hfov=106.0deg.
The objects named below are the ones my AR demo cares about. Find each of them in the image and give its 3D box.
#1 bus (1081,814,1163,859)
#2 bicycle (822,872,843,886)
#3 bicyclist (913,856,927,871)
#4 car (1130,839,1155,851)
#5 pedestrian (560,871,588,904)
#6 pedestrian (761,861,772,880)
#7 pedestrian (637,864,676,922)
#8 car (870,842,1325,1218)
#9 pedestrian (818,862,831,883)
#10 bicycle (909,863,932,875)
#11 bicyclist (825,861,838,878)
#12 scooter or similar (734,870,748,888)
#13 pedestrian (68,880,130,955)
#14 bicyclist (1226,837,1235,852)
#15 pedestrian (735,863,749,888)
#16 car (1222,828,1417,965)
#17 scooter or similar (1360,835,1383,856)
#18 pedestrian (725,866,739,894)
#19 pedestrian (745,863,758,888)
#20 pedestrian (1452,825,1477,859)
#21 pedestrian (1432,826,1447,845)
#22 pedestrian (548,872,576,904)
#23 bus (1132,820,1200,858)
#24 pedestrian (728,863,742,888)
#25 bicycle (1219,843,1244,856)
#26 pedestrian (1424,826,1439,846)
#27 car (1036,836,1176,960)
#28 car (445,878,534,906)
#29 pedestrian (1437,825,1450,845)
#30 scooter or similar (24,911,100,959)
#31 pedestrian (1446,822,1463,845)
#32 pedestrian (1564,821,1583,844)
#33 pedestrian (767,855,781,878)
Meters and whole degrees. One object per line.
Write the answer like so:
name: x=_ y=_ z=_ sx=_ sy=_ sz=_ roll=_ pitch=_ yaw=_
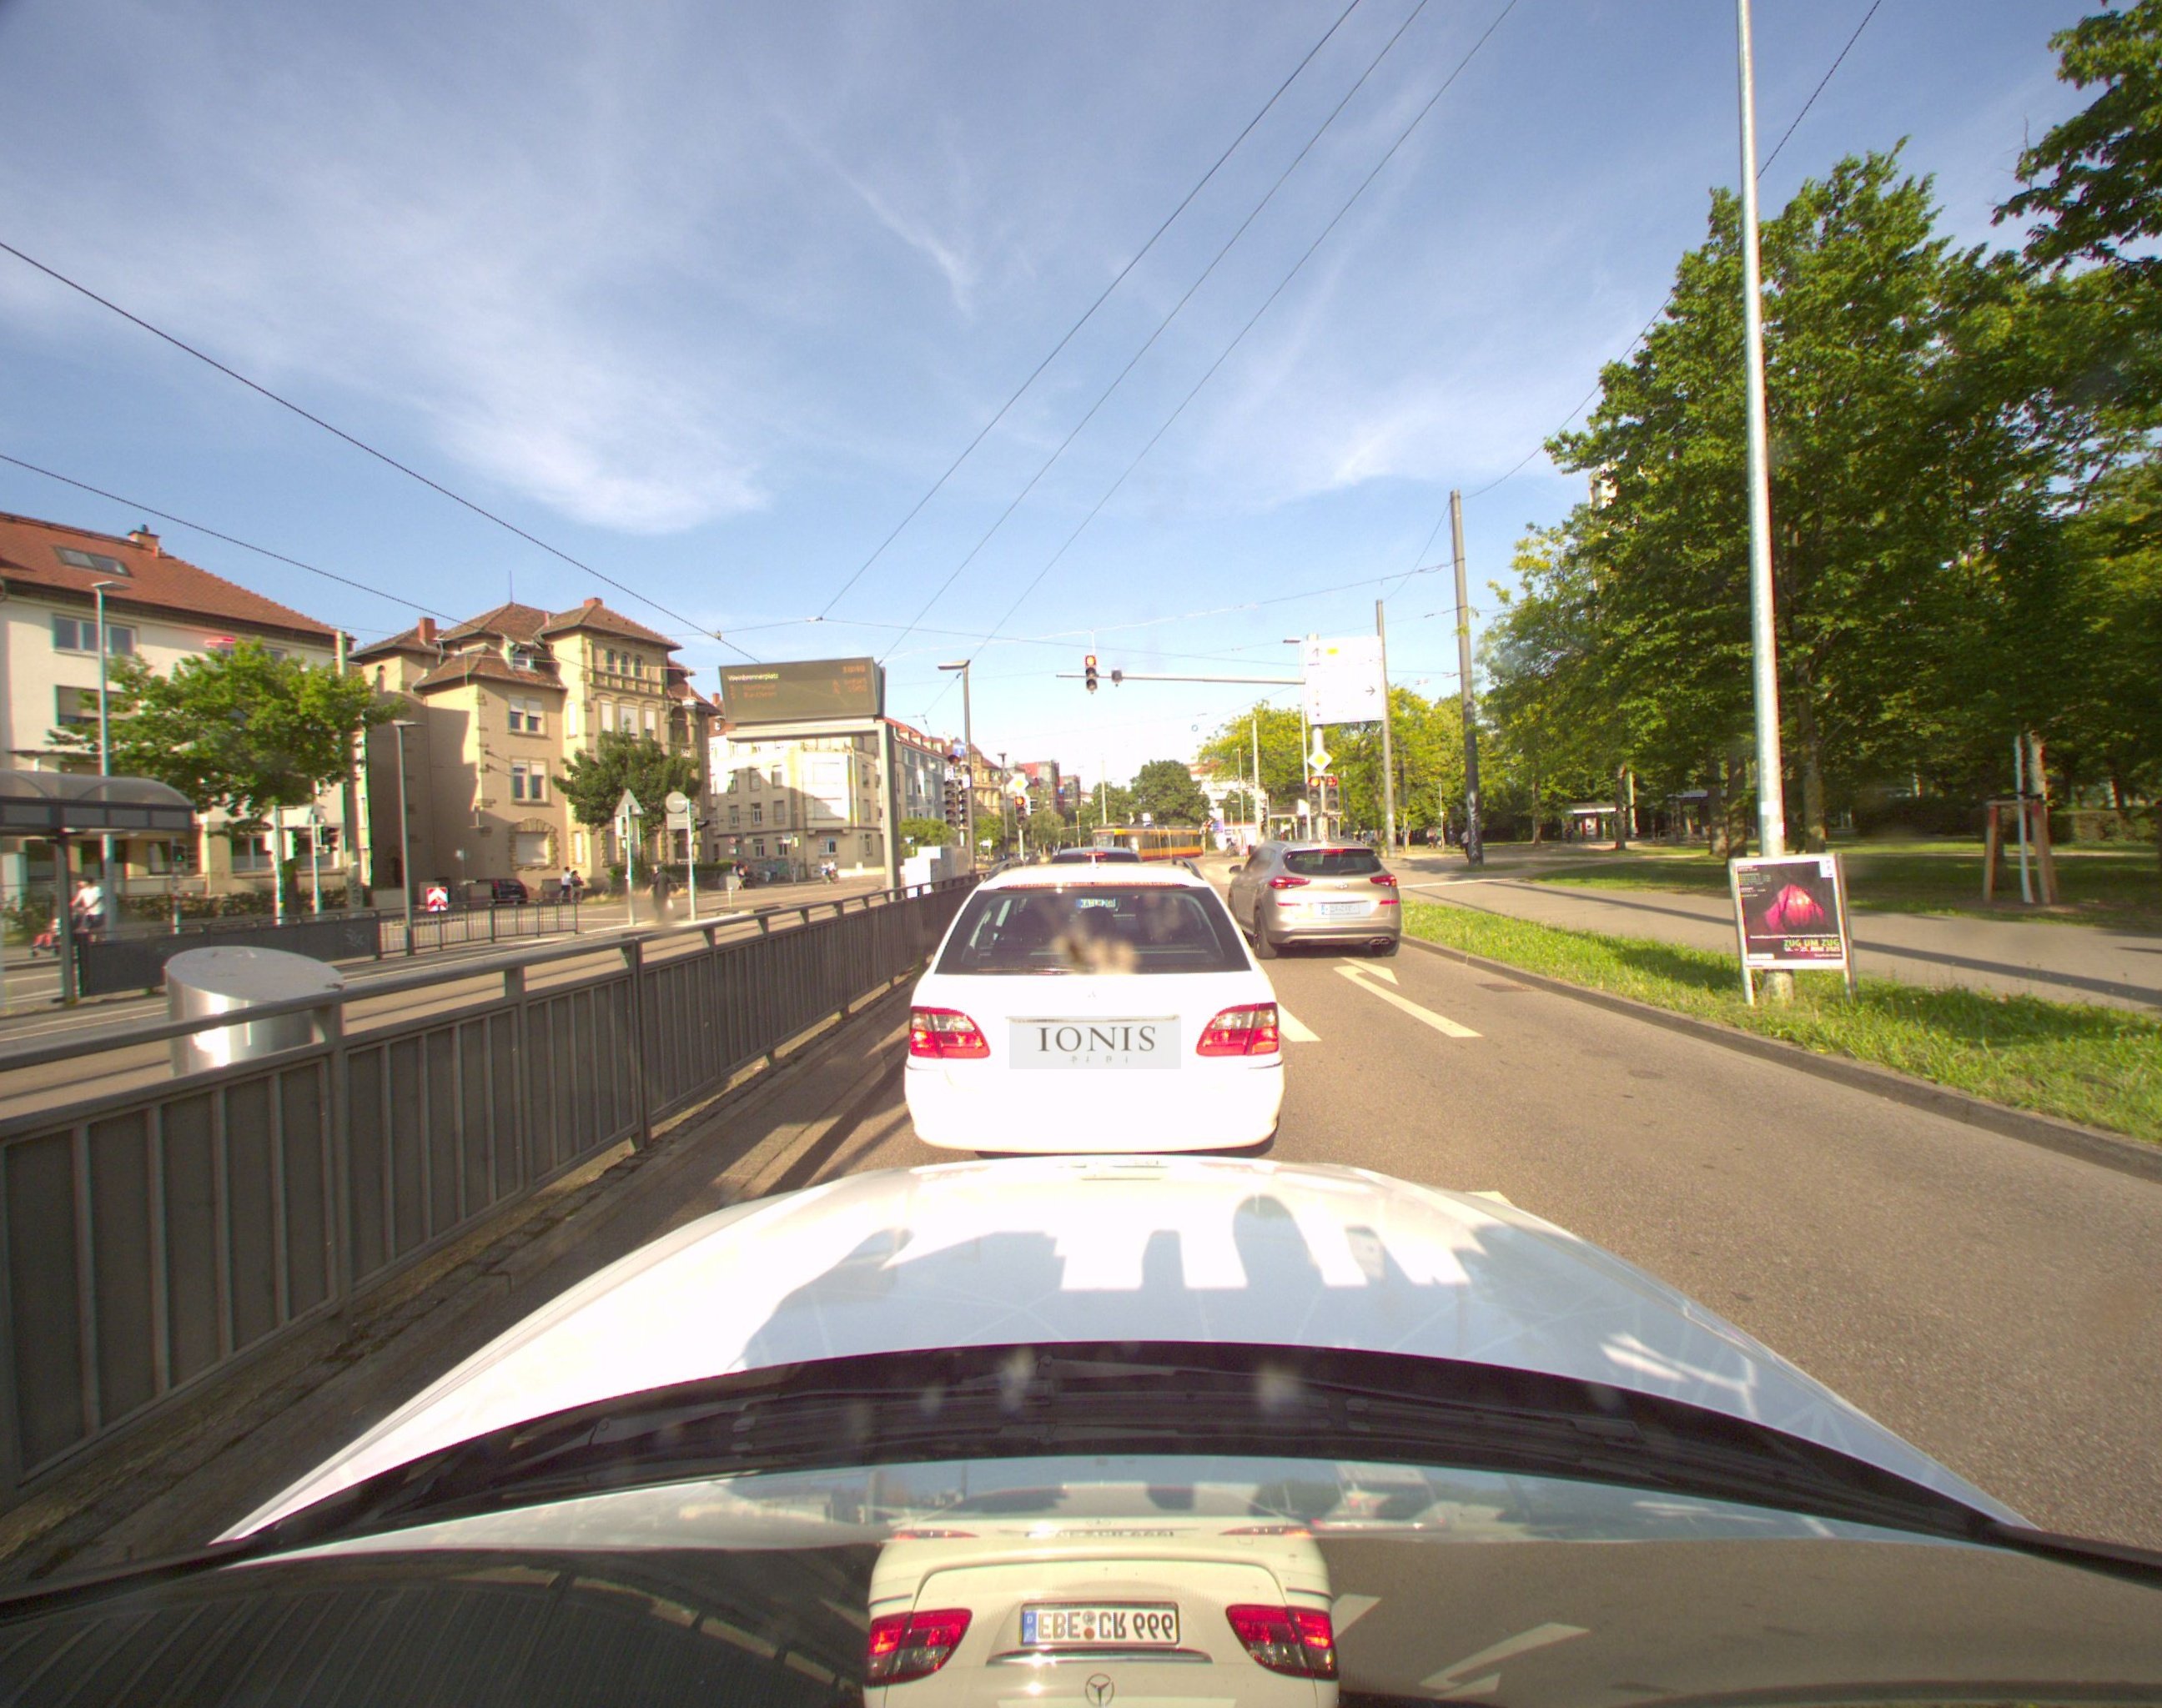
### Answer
bus: x=3.847 y=-1.384 z=70.990 sx=3.081 sy=3.606 sz=12.441 roll=-1 pitch=0 yaw=22
bicycle: x=-16.052 y=1.607 z=52.595 sx=0.522 sy=0.834 sz=1.691 roll=-3 pitch=0 yaw=11
bicyclist: x=-13.862 y=0.815 z=70.225 sx=0.758 sy=1.262 sz=1.178 roll=-3 pitch=0 yaw=12
car: x=10.211 y=-1.478 z=134.593 sx=3.973 sy=2.014 sz=2.000 roll=-1 pitch=-1 yaw=0
pedestrian: x=-25.217 y=1.657 z=40.474 sx=0.822 sy=1.552 sz=0.786 roll=-3 pitch=0 yaw=23
pedestrian: x=-28.088 y=1.431 z=72.643 sx=0.615 sy=1.660 sz=0.589 roll=-3 pitch=0 yaw=17
pedestrian: x=-12.741 y=1.154 z=24.435 sx=0.798 sy=1.645 sz=0.748 roll=-3 pitch=0 yaw=-42
car: x=0.121 y=0.697 z=5.082 sx=1.789 sy=1.470 sz=3.649 roll=-1 pitch=0 yaw=2
pedestrian: x=-19.010 y=1.371 z=60.336 sx=0.626 sy=1.541 sz=0.711 roll=-3 pitch=0 yaw=1
bicycle: x=-13.826 y=1.299 z=70.303 sx=0.779 sy=0.914 sz=3.008 roll=-3 pitch=0 yaw=12
bicyclist: x=-16.085 y=1.000 z=52.577 sx=0.509 sy=1.044 sz=0.681 roll=-3 pitch=0 yaw=9
scooter or similar: x=-20.992 y=1.545 z=50.245 sx=0.541 sy=1.079 sz=0.683 roll=-1 pitch=-1 yaw=1
pedestrian: x=-23.851 y=1.518 z=19.787 sx=0.548 sy=1.746 sz=0.760 roll=-3 pitch=0 yaw=-13
bicyclist: x=15.310 y=-0.993 z=83.346 sx=0.855 sy=1.481 sz=0.791 roll=-3 pitch=0 yaw=9
pedestrian: x=-20.378 y=1.291 z=48.937 sx=0.434 sy=1.500 sz=0.551 roll=-3 pitch=0 yaw=16
car: x=3.338 y=0.530 z=12.152 sx=1.878 sy=1.651 sz=3.649 roll=-3 pitch=0 yaw=2
scooter or similar: x=16.143 y=-0.470 z=45.297 sx=0.421 sy=1.117 sz=1.322 roll=-3 pitch=0 yaw=-18
pedestrian: x=-21.208 y=1.570 z=49.526 sx=0.506 sy=1.626 sz=0.609 roll=-3 pitch=0 yaw=3
pedestrian: x=-20.499 y=1.344 z=50.669 sx=0.530 sy=1.500 sz=0.391 roll=-3 pitch=0 yaw=16
pedestrian: x=18.723 y=-0.591 z=39.784 sx=0.758 sy=1.636 sz=0.800 roll=-3 pitch=0 yaw=-38
pedestrian: x=28.104 y=-1.452 z=63.863 sx=0.813 sy=1.487 sz=0.698 roll=-3 pitch=0 yaw=-9
pedestrian: x=-26.004 y=1.696 z=40.780 sx=0.822 sy=1.552 sz=0.786 roll=-3 pitch=0 yaw=23
bus: x=8.832 y=-1.390 z=82.490 sx=3.081 sy=3.606 sz=12.661 roll=-1 pitch=0 yaw=24
pedestrian: x=-20.860 y=1.297 z=49.070 sx=0.434 sy=1.500 sz=0.551 roll=-3 pitch=0 yaw=16
bicycle: x=15.371 y=-0.488 z=83.347 sx=2.467 sy=1.213 sz=0.809 roll=-3 pitch=0 yaw=9
pedestrian: x=27.256 y=-1.368 z=63.274 sx=0.820 sy=1.487 sz=0.692 roll=-3 pitch=0 yaw=-40
car: x=0.397 y=0.581 z=12.794 sx=1.878 sy=1.651 sz=3.649 roll=-1 pitch=0 yaw=2
car: x=-29.450 y=1.859 z=40.547 sx=4.066 sy=1.310 sz=1.774 roll=-1 pitch=0 yaw=24
pedestrian: x=27.769 y=-1.429 z=62.358 sx=0.805 sy=1.487 sz=0.705 roll=-3 pitch=0 yaw=26
scooter or similar: x=-23.641 y=1.861 z=18.914 sx=0.557 sy=0.988 sz=1.018 roll=-3 pitch=0 yaw=-14
pedestrian: x=29.119 y=-1.606 z=63.483 sx=0.797 sy=1.785 sz=0.838 roll=-3 pitch=0 yaw=-2
pedestrian: x=35.854 y=-1.549 z=59.289 sx=0.831 sy=1.636 sz=0.804 roll=-3 pitch=0 yaw=8
pedestrian: x=-27.711 y=1.138 z=73.473 sx=0.768 sy=2.013 sz=0.790 roll=-3 pitch=0 yaw=17
